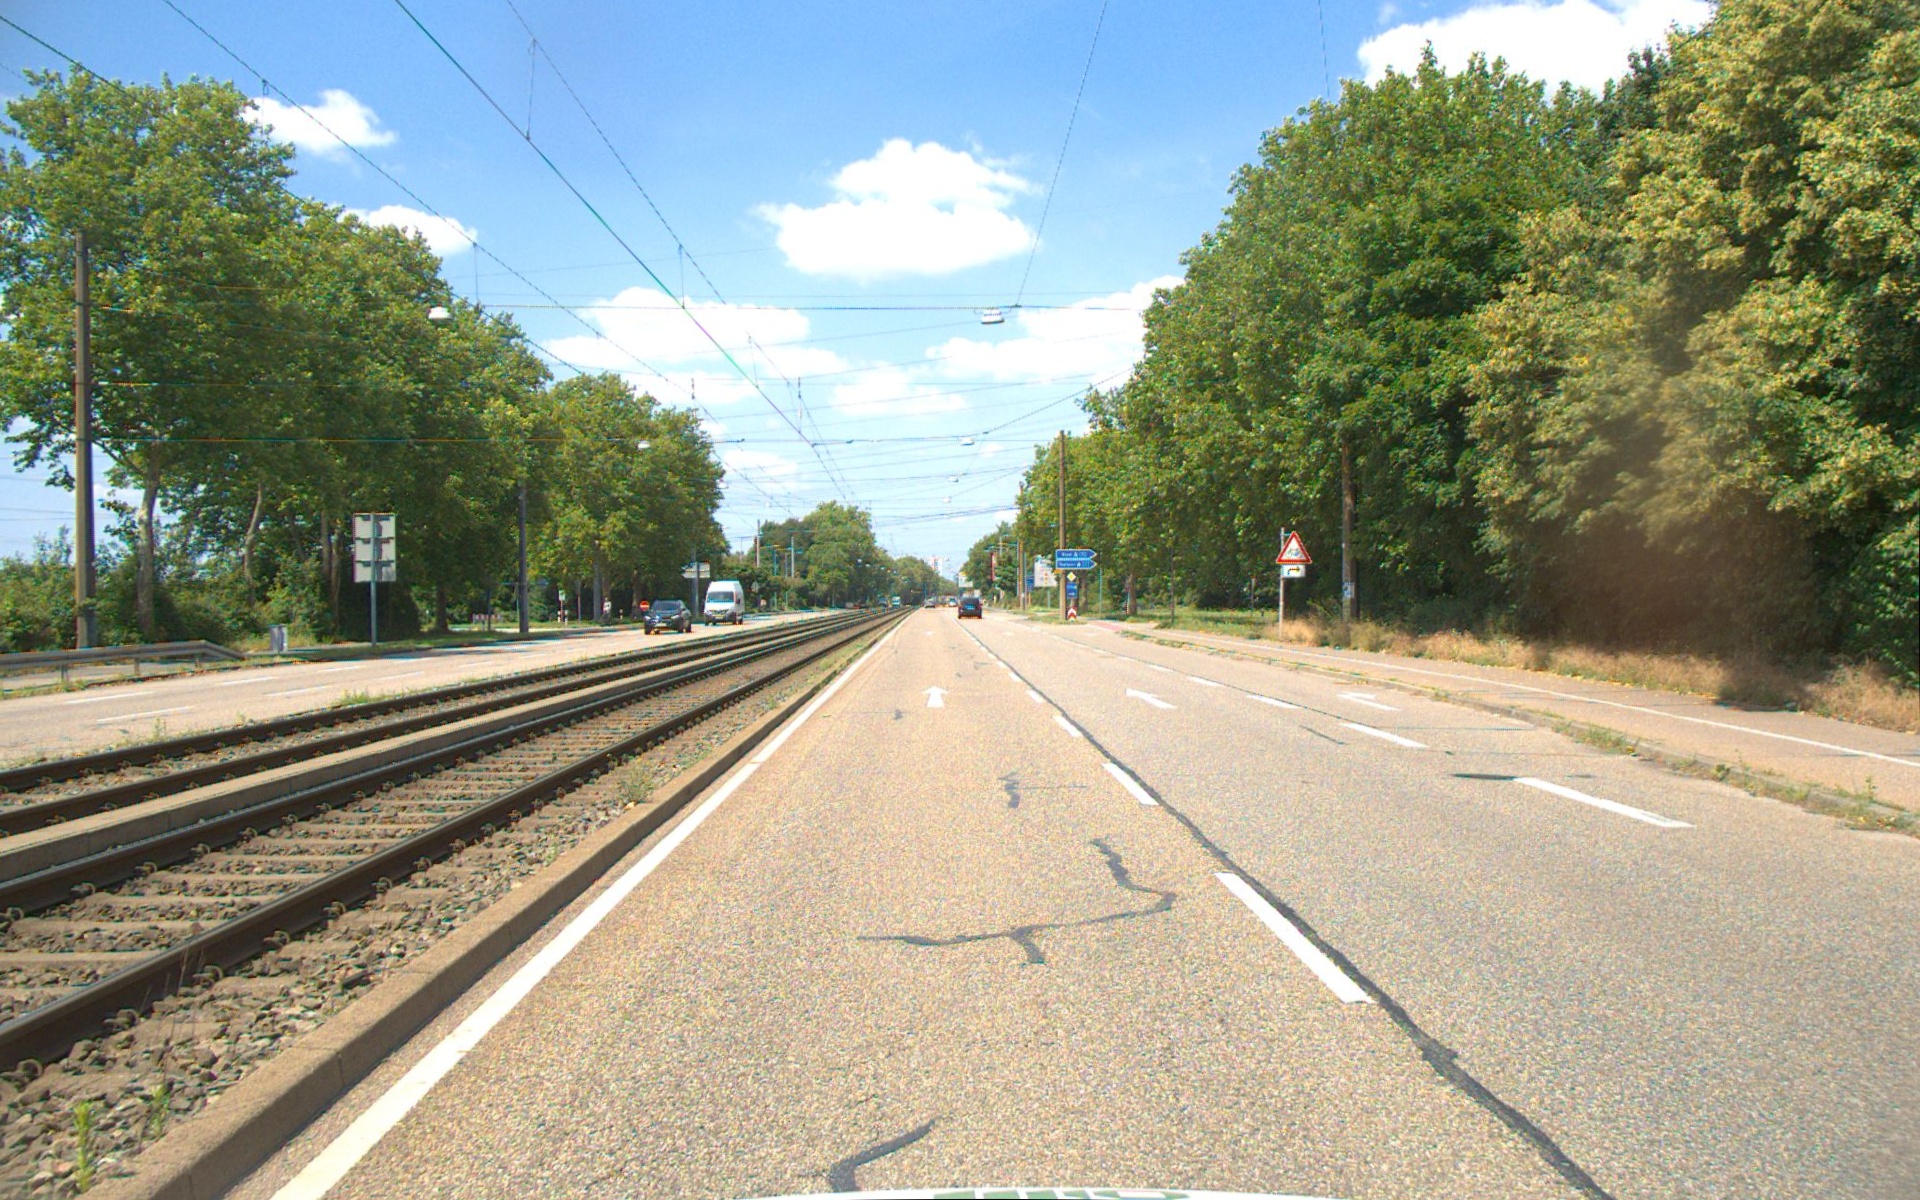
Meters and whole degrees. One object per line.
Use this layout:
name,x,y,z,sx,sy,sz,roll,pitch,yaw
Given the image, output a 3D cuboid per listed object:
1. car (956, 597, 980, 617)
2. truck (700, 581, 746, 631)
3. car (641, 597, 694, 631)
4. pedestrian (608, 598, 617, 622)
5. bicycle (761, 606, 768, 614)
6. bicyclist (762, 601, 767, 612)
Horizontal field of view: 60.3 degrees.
car,0.581,0.528,122.333,1.554,1.366,3.271,-1,1,-3
truck,-15.138,0.360,105.938,2.012,2.990,6.318,-2,0,-1
car,-14.197,0.642,80.493,1.781,1.540,4.427,-2,0,-1
pedestrian,-23.396,0.679,111.339,0.503,1.578,0.703,-2,0,-7
bicycle,-22.579,1.113,190.944,0.505,0.872,1.932,-2,0,2
bicyclist,-22.579,0.714,190.857,0.445,1.295,0.398,-1,0,1
